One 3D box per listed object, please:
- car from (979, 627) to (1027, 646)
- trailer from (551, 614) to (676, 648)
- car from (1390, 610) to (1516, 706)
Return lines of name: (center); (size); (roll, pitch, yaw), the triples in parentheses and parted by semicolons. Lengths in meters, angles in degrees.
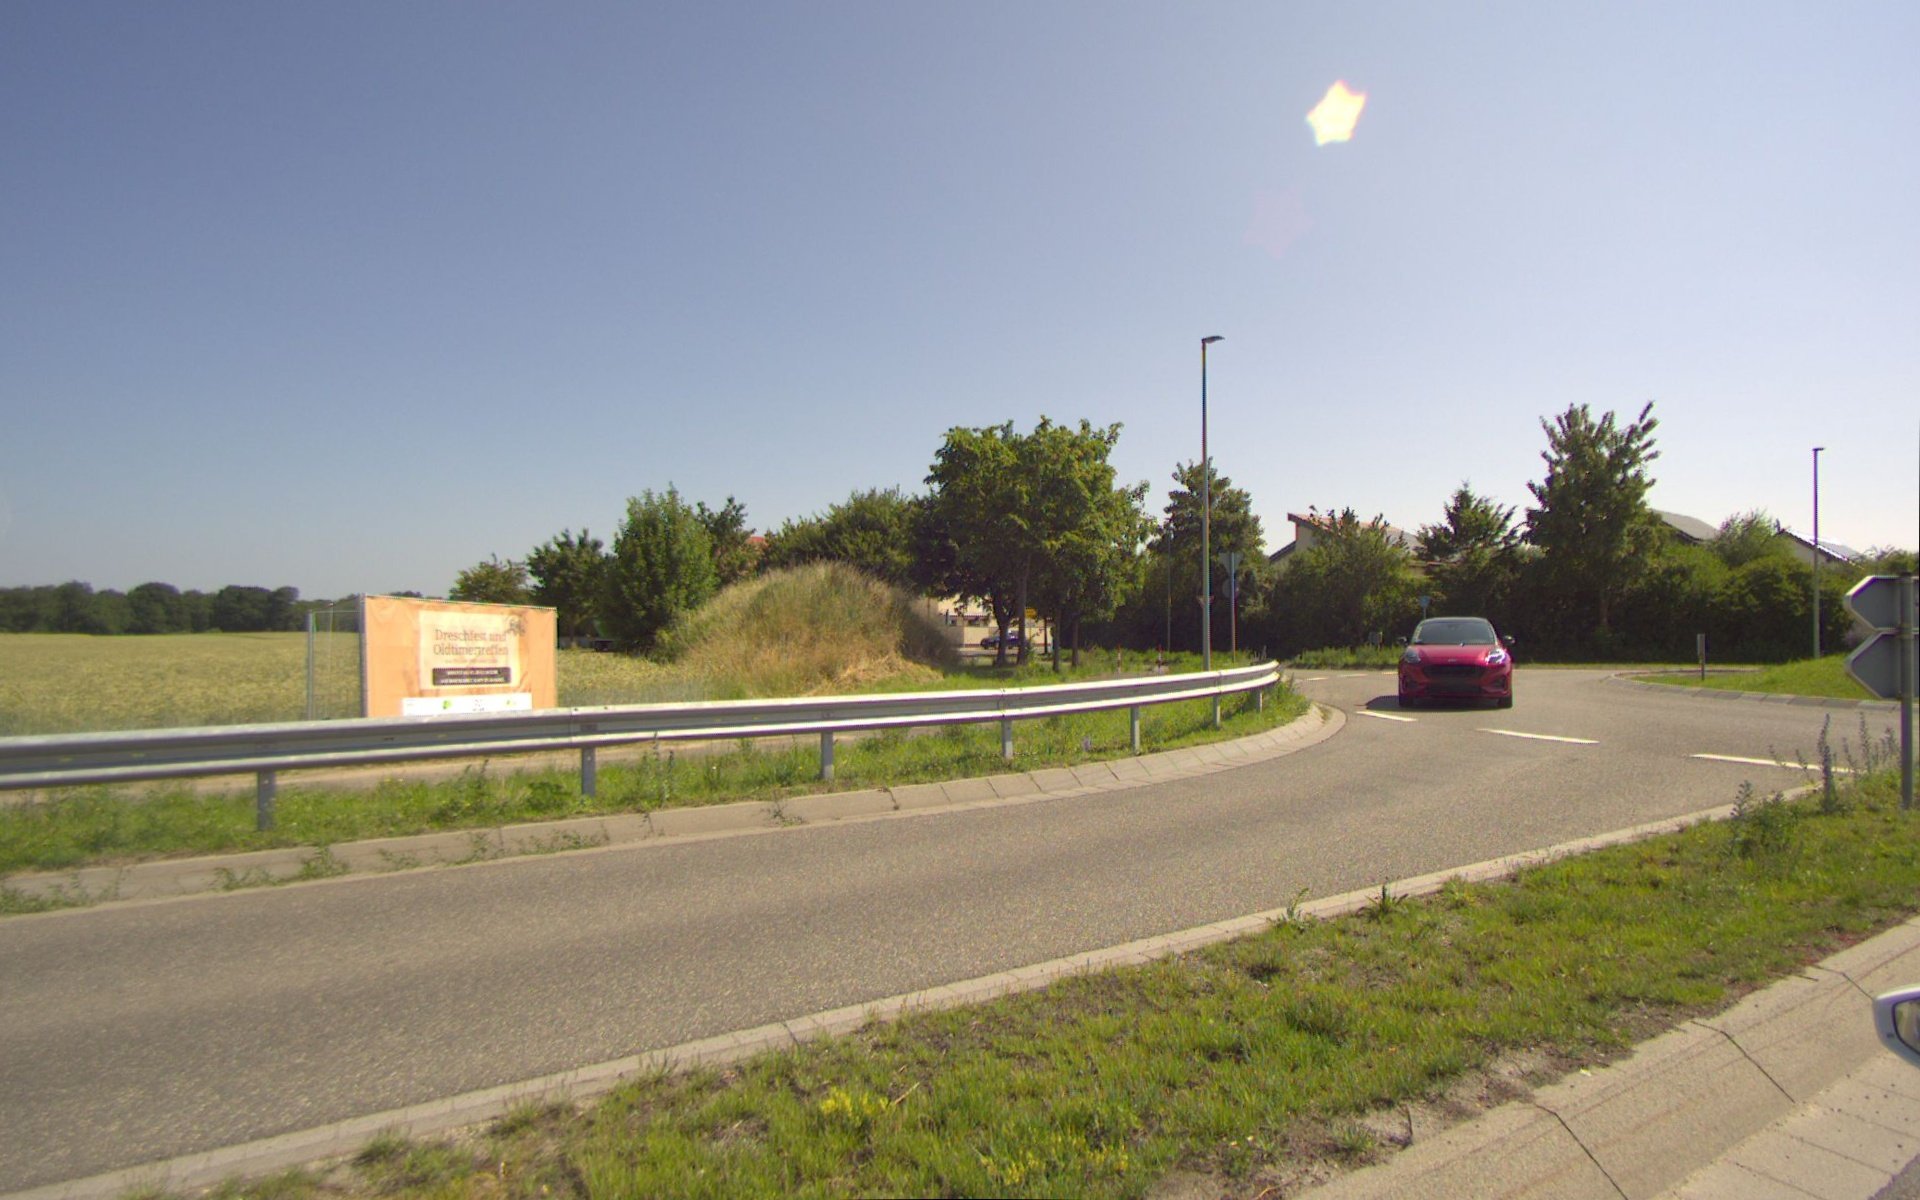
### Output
car: (3.493, 2.912, 80.857); (3.698, 1.523, 1.593); (1, -1, -38)
trailer: (-25.919, 2.263, 74.979); (10.292, 2.308, 1.999); (0, -1, 25)
car: (9.036, 0.999, 18.256); (1.719, 1.543, 3.823); (-2, -2, 31)
